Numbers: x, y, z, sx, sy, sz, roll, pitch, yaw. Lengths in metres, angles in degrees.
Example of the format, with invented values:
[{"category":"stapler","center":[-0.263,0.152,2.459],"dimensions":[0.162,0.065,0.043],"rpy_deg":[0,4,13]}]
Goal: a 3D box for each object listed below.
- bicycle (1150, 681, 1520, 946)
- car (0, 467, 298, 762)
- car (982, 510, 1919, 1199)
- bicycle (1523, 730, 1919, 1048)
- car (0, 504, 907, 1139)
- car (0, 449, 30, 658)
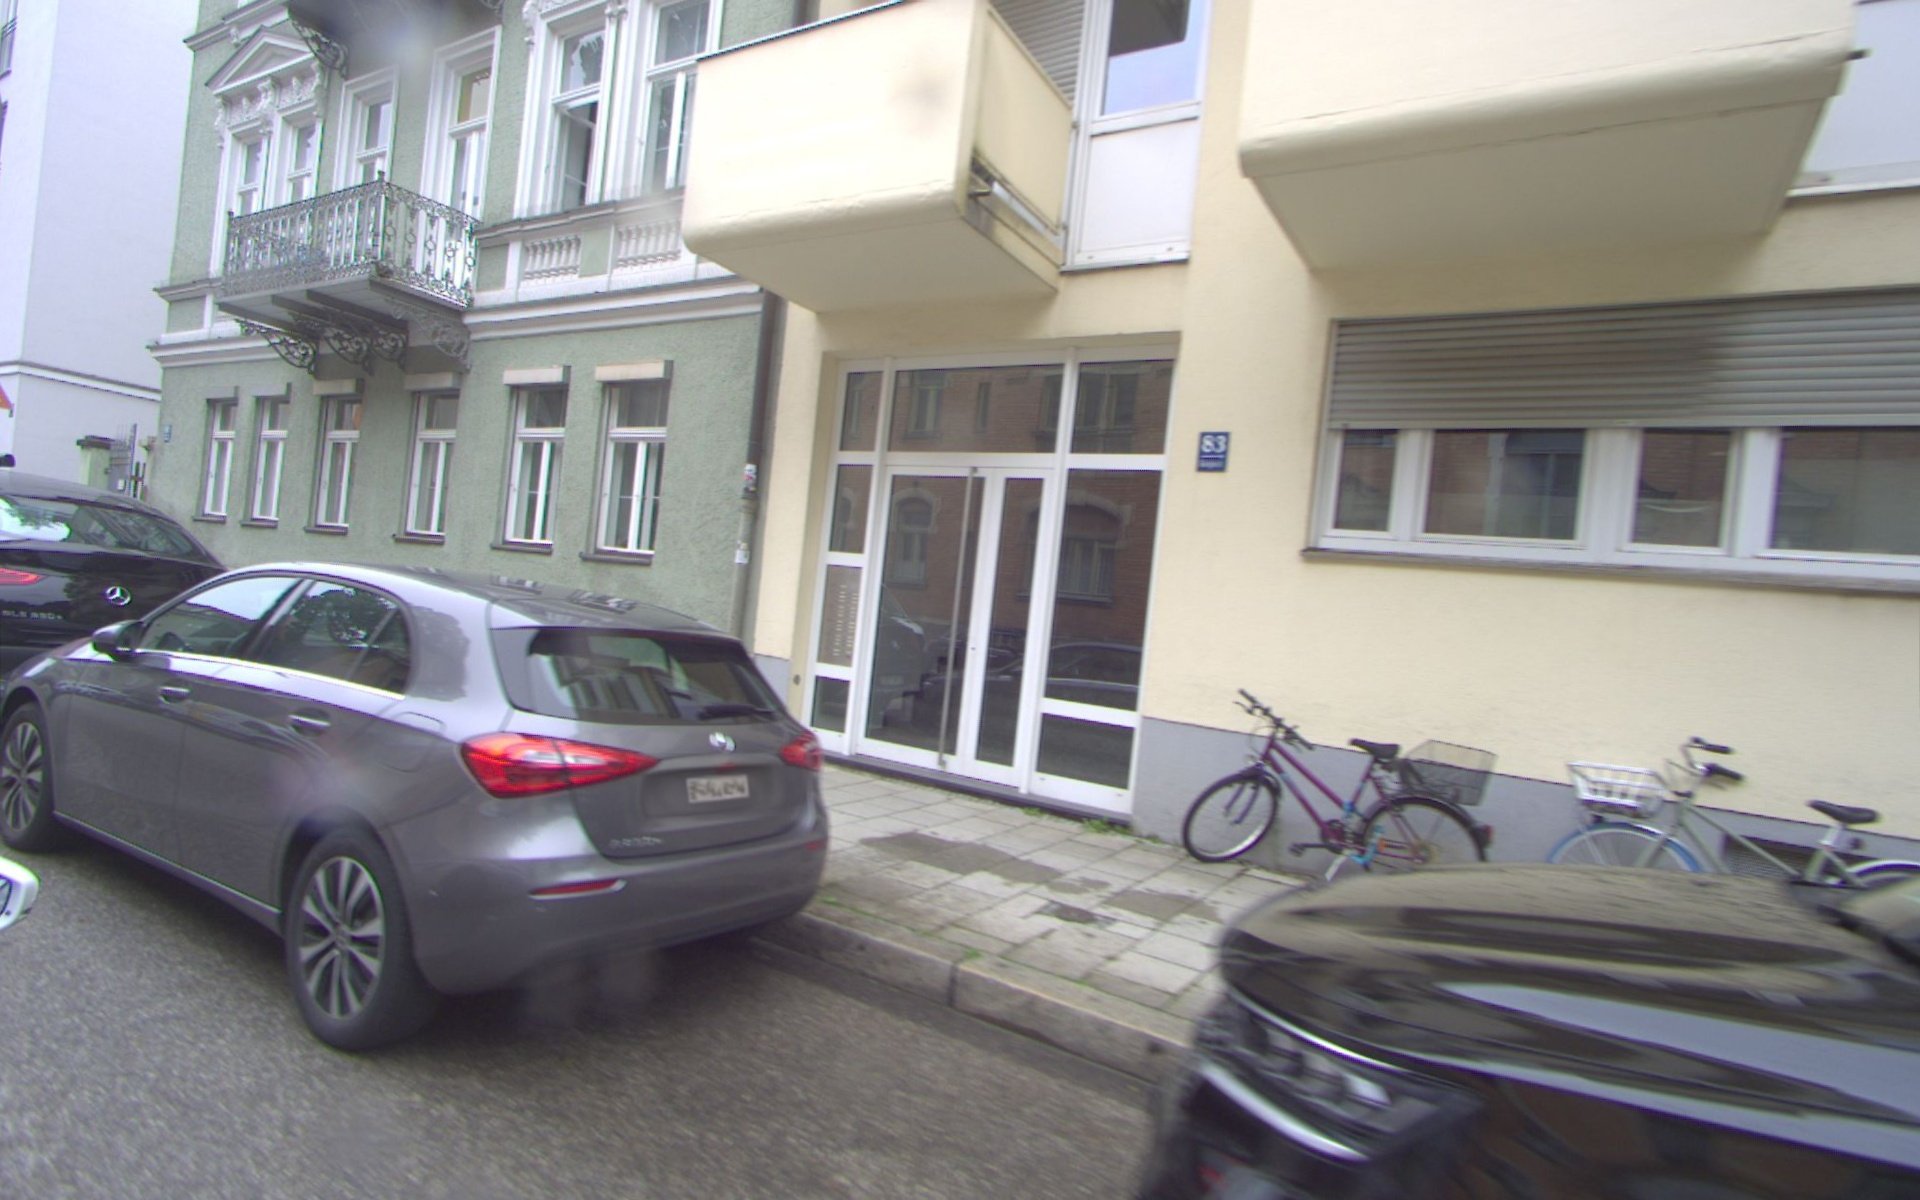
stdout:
[{"category":"bicycle","center":[2.014,1.086,5.519],"dimensions":[1.732,1.067,0.580],"rpy_deg":[6,0,27]},{"category":"car","center":[-6.856,-0.072,6.991],"dimensions":[4.674,1.570,1.862],"rpy_deg":[5,0,31]},{"category":"car","center":[2.420,0.934,1.126],"dimensions":[4.475,1.659,1.852],"rpy_deg":[5,-1,32]},{"category":"bicycle","center":[3.662,1.269,4.576],"dimensions":[1.805,1.067,0.580],"rpy_deg":[6,0,27]},{"category":"car","center":[-2.574,0.524,4.421],"dimensions":[4.343,1.476,1.731],"rpy_deg":[6,-2,32]},{"category":"car","center":[-11.610,-0.681,10.204],"dimensions":[4.737,1.992,1.872],"rpy_deg":[5,0,31]}]
